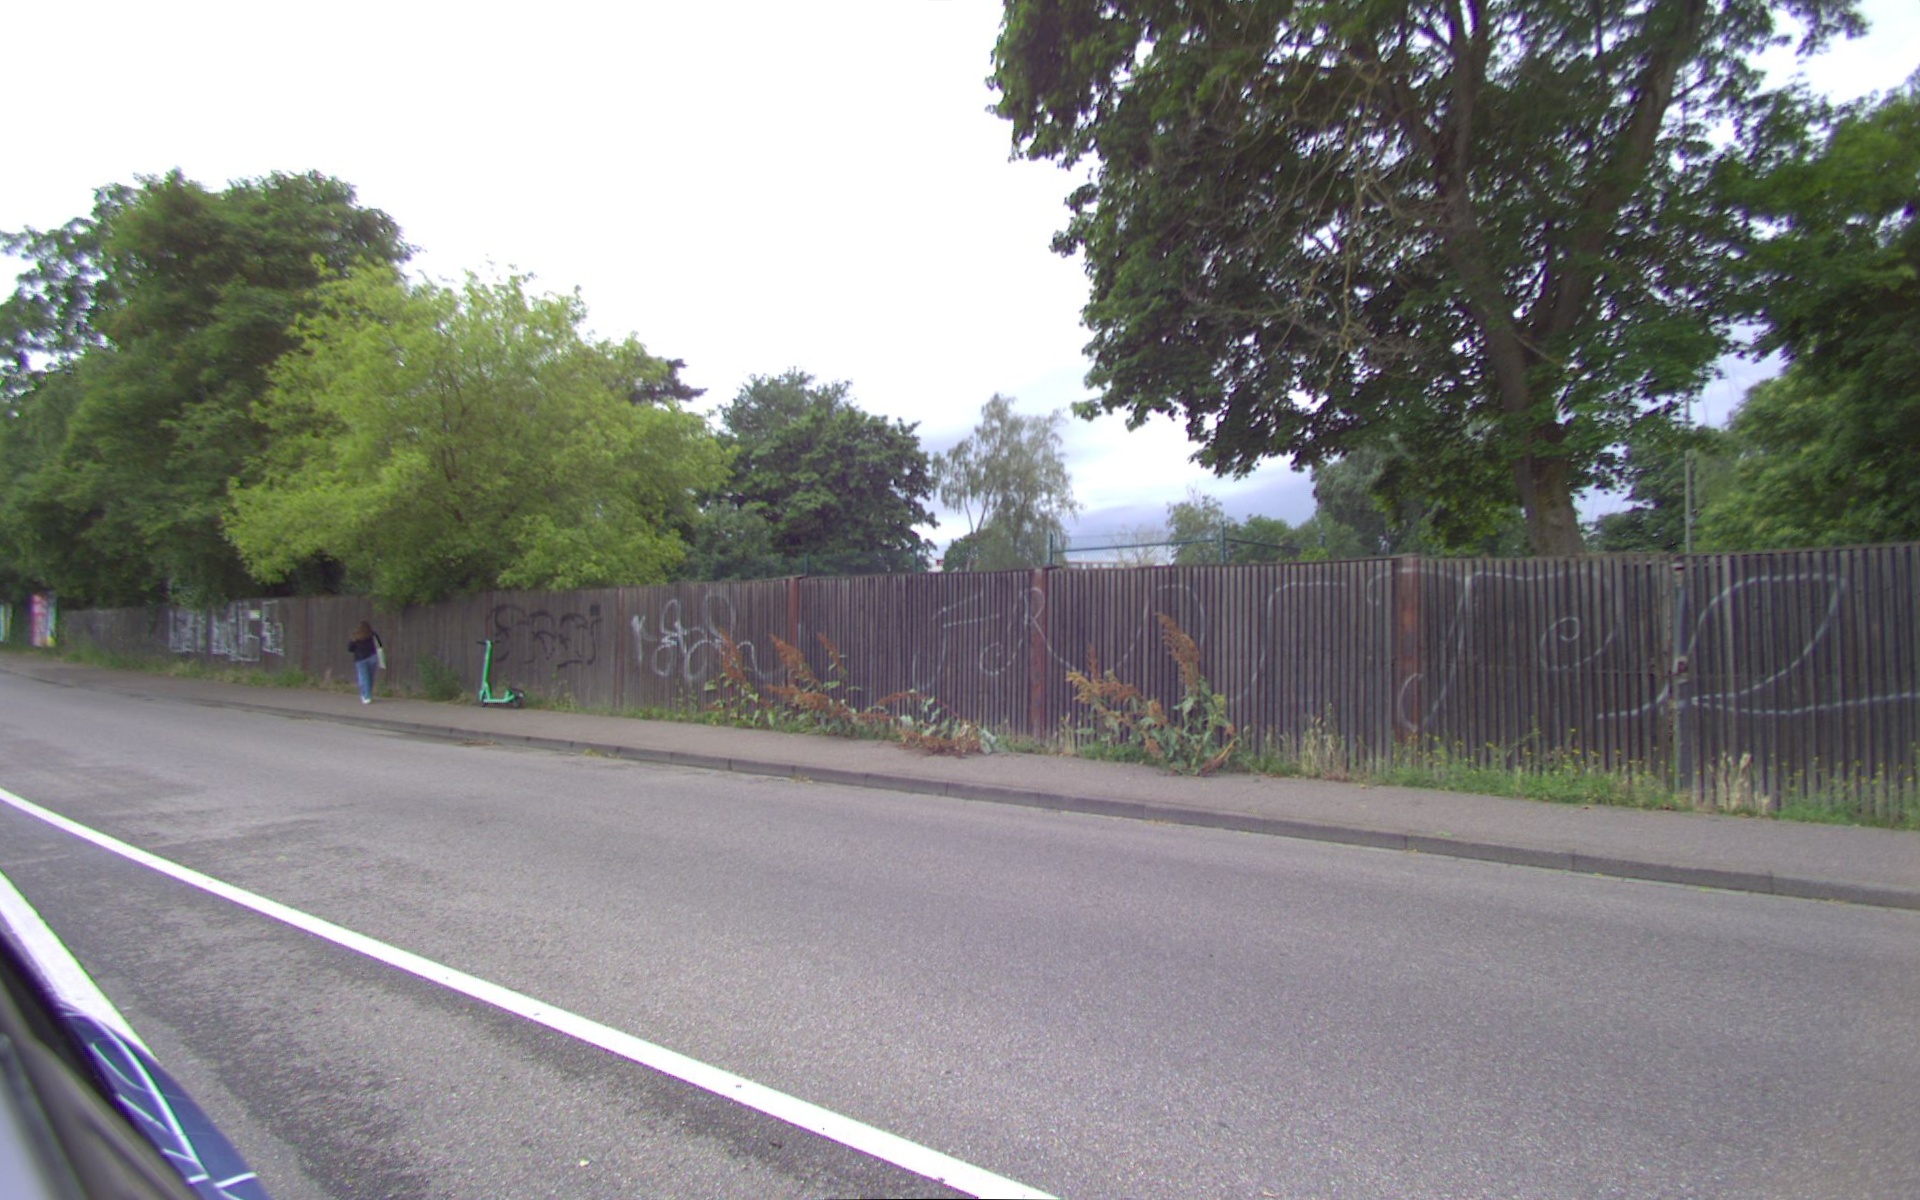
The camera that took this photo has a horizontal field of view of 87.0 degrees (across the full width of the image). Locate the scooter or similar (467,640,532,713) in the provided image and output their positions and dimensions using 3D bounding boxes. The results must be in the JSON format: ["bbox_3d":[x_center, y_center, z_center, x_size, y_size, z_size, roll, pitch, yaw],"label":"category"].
[{"bbox_3d":[-7.819,1.280,17.181,1.301,1.179,0.419,-1,-2,36],"label":"scooter or similar"}]

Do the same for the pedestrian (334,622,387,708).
[{"bbox_3d":[-11.070,1.179,18.692,0.723,1.541,0.606,-2,-2,36],"label":"pedestrian"}]
